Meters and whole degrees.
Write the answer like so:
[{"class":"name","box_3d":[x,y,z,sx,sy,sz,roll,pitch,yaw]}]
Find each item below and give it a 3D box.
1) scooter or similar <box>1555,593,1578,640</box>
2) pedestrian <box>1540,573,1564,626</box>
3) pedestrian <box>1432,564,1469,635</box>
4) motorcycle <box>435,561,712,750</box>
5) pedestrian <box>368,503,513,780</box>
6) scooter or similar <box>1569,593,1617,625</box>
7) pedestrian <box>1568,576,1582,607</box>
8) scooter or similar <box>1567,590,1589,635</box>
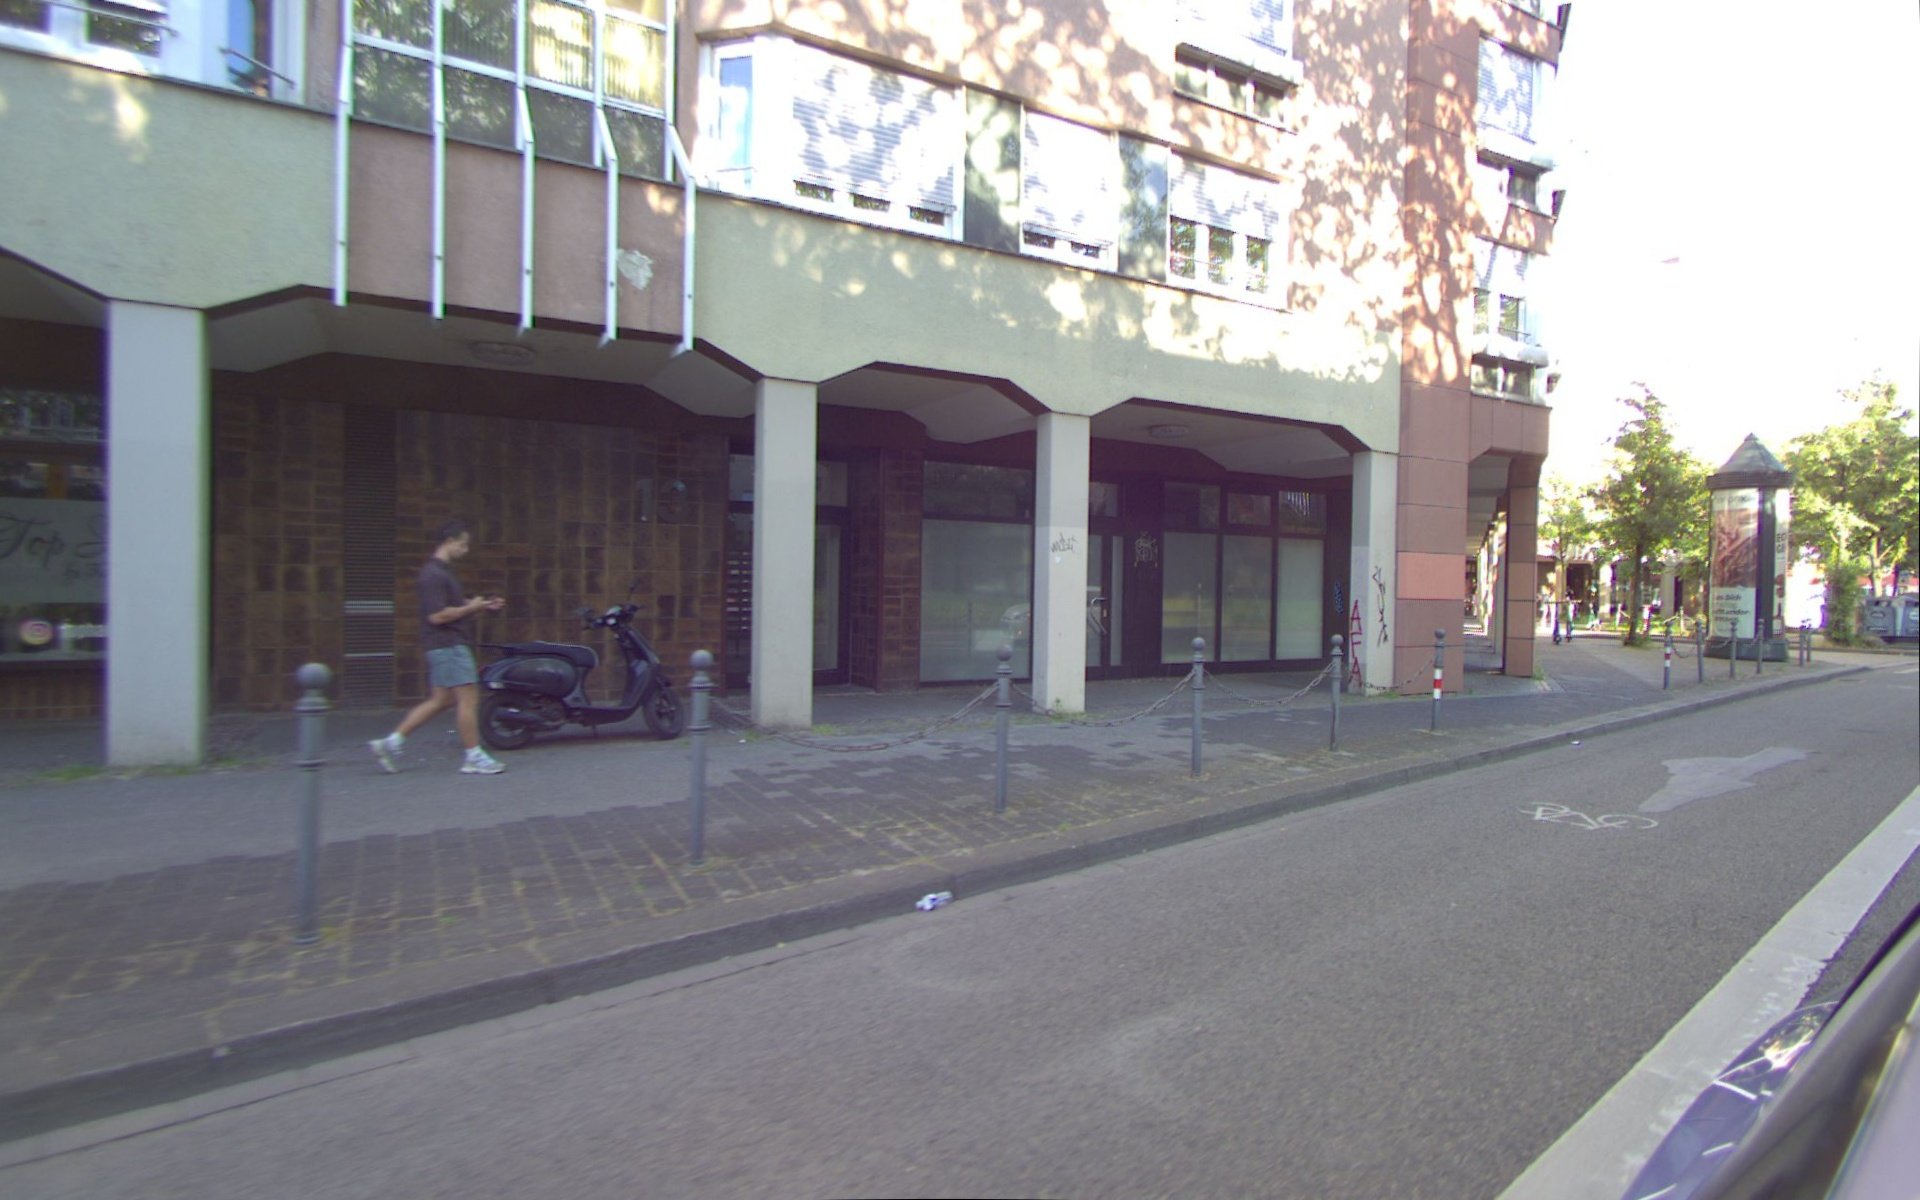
[{"class":"scooter or similar","box_3d":[16.654,0.437,27.797,0.482,1.231,1.435,2,1,30]},{"class":"pedestrian","box_3d":[22.673,-0.021,38.755,0.638,2.006,0.765,2,1,39]},{"class":"pedestrian","box_3d":[14.234,-0.017,29.356,0.813,2.006,0.838,2,1,35]},{"class":"motorcycle","box_3d":[-3.096,0.403,8.278,2.053,1.389,0.489,0,1,-40]},{"class":"pedestrian","box_3d":[-3.593,0.254,6.982,0.820,1.760,0.784,1,1,-31]},{"class":"scooter or similar","box_3d":[24.430,0.335,39.051,0.548,1.160,1.460,1,1,-34]},{"class":"pedestrian","box_3d":[37.478,-0.516,61.650,0.620,1.894,0.698,2,1,41]},{"class":"scooter or similar","box_3d":[18.172,0.359,29.761,0.482,1.290,1.435,2,1,30]}]
